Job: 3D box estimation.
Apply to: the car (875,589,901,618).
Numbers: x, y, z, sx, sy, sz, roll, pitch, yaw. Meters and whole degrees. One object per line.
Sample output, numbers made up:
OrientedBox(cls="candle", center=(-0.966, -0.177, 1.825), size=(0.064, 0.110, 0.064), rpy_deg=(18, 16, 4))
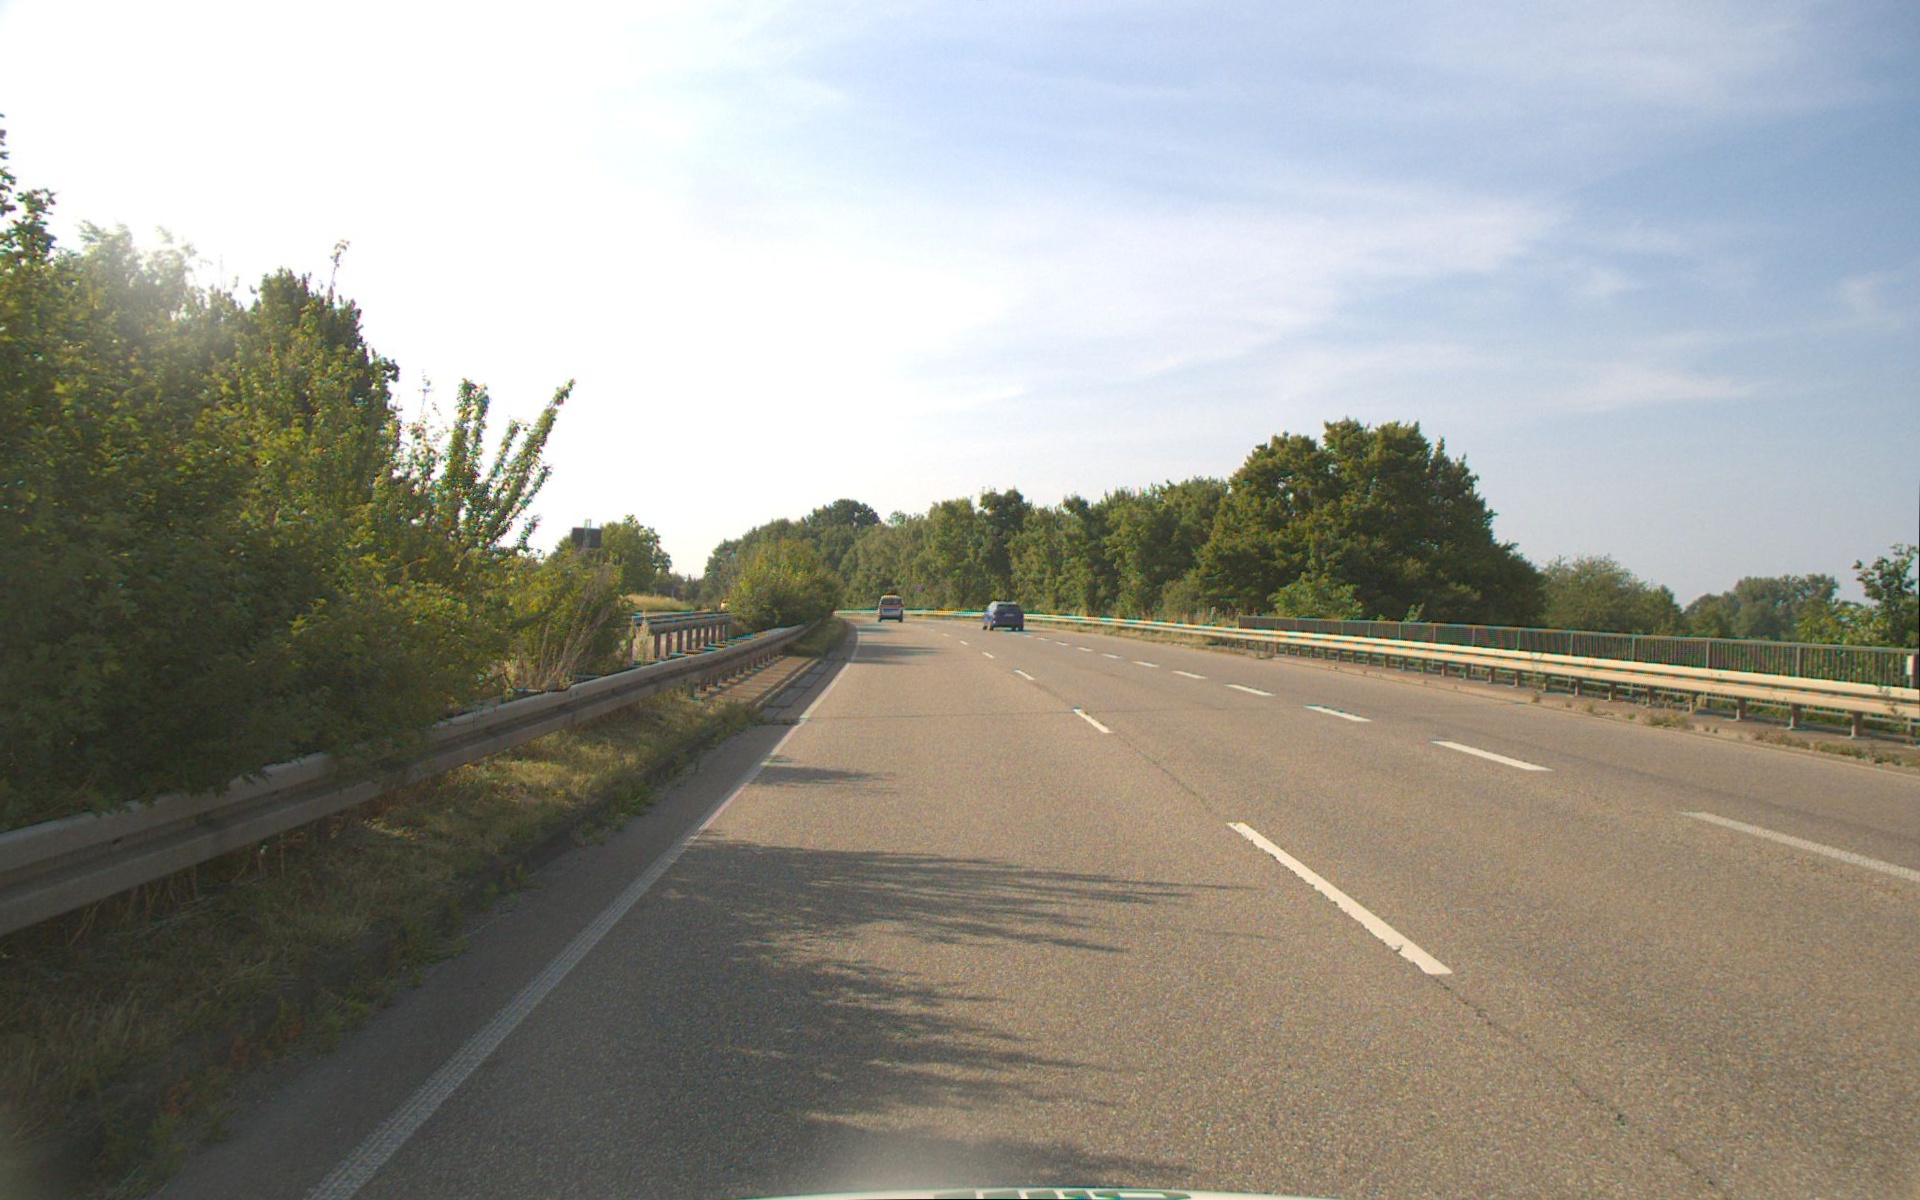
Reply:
OrientedBox(cls="car", center=(-5.027, 0.251, 115.620), size=(1.730, 1.915, 3.997), rpy_deg=(1, 0, -4))

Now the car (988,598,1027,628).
OrientedBox(cls="car", center=(2.393, 0.682, 84.235), size=(1.743, 1.477, 3.999), rpy_deg=(1, -1, -1))
